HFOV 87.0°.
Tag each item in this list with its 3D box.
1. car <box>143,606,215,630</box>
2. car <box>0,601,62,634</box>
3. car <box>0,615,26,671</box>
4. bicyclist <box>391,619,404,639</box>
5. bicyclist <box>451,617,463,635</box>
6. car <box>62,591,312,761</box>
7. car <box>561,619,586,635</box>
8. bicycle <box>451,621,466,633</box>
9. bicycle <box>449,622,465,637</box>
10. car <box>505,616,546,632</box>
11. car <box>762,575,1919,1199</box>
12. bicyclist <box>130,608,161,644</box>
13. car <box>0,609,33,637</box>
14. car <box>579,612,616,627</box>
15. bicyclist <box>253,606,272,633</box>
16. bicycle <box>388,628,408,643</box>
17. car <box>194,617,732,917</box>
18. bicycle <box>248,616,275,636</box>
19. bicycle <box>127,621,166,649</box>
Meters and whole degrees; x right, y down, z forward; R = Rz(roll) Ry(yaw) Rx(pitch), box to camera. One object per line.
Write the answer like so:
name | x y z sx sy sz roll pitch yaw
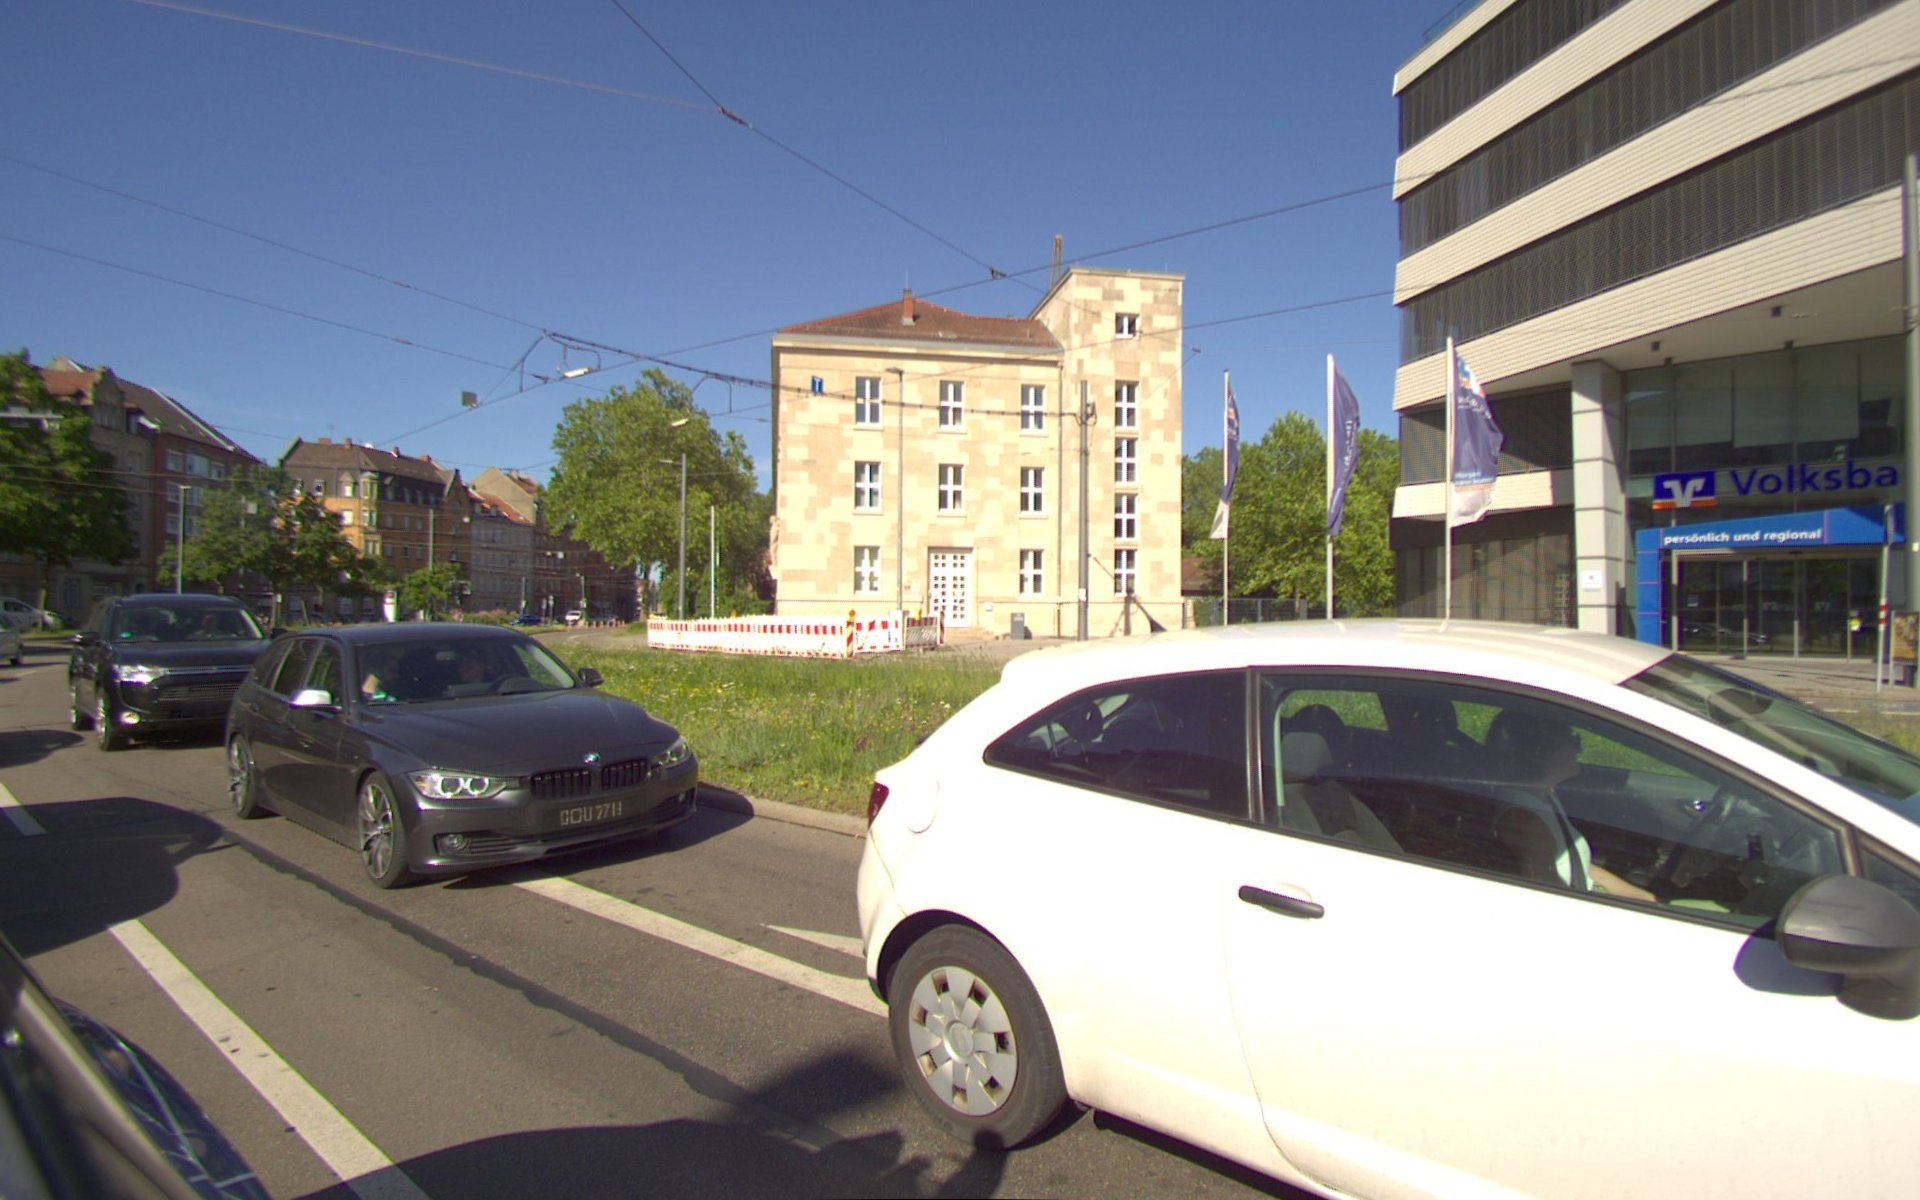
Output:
car | -53.926 1.271 69.879 3.771 1.603 1.601 2 -2 -44
car | -49.926 0.890 52.797 4.514 1.680 1.601 2 -2 -43
car | -27.911 1.196 28.302 1.809 1.563 4.160 2 -1 -32
bicyclist | -46.461 2.416 83.595 0.658 1.641 0.973 0 -1 -7
bicyclist | -48.800 2.502 98.209 0.724 1.707 0.972 0 -1 -6
car | -9.378 0.774 12.134 1.817 1.658 4.400 -1 -1 -45
car | -51.166 3.593 134.038 1.953 2.101 4.719 1 -1 -5
bicycle | -50.205 2.696 101.368 0.752 1.153 2.288 0 -1 -12
bicycle | -48.790 2.843 98.240 0.726 1.371 2.078 0 -1 -6
car | -52.113 2.915 121.356 1.832 1.896 4.309 0 -1 27
car | 1.483 0.696 2.483 4.020 1.452 1.714 0 2 40
bicyclist | -40.213 1.305 49.960 0.705 1.739 1.096 1 -3 -11
car | -48.761 1.150 50.391 3.768 1.390 1.602 2 -2 -41
car | -42.704 2.346 119.343 4.001 1.669 1.772 1 -1 -16
bicyclist | -42.704 1.179 61.996 0.621 1.641 0.974 0 -1 -13
bicycle | -46.452 2.963 83.684 0.658 1.206 2.157 0 -1 -7
car | -3.596 0.829 6.883 4.424 1.377 1.719 -1 0 41
bicycle | -42.685 1.599 61.875 0.627 1.206 2.160 0 -1 -14
bicycle | -40.208 1.749 50.023 0.705 1.337 1.752 1 -3 -11
